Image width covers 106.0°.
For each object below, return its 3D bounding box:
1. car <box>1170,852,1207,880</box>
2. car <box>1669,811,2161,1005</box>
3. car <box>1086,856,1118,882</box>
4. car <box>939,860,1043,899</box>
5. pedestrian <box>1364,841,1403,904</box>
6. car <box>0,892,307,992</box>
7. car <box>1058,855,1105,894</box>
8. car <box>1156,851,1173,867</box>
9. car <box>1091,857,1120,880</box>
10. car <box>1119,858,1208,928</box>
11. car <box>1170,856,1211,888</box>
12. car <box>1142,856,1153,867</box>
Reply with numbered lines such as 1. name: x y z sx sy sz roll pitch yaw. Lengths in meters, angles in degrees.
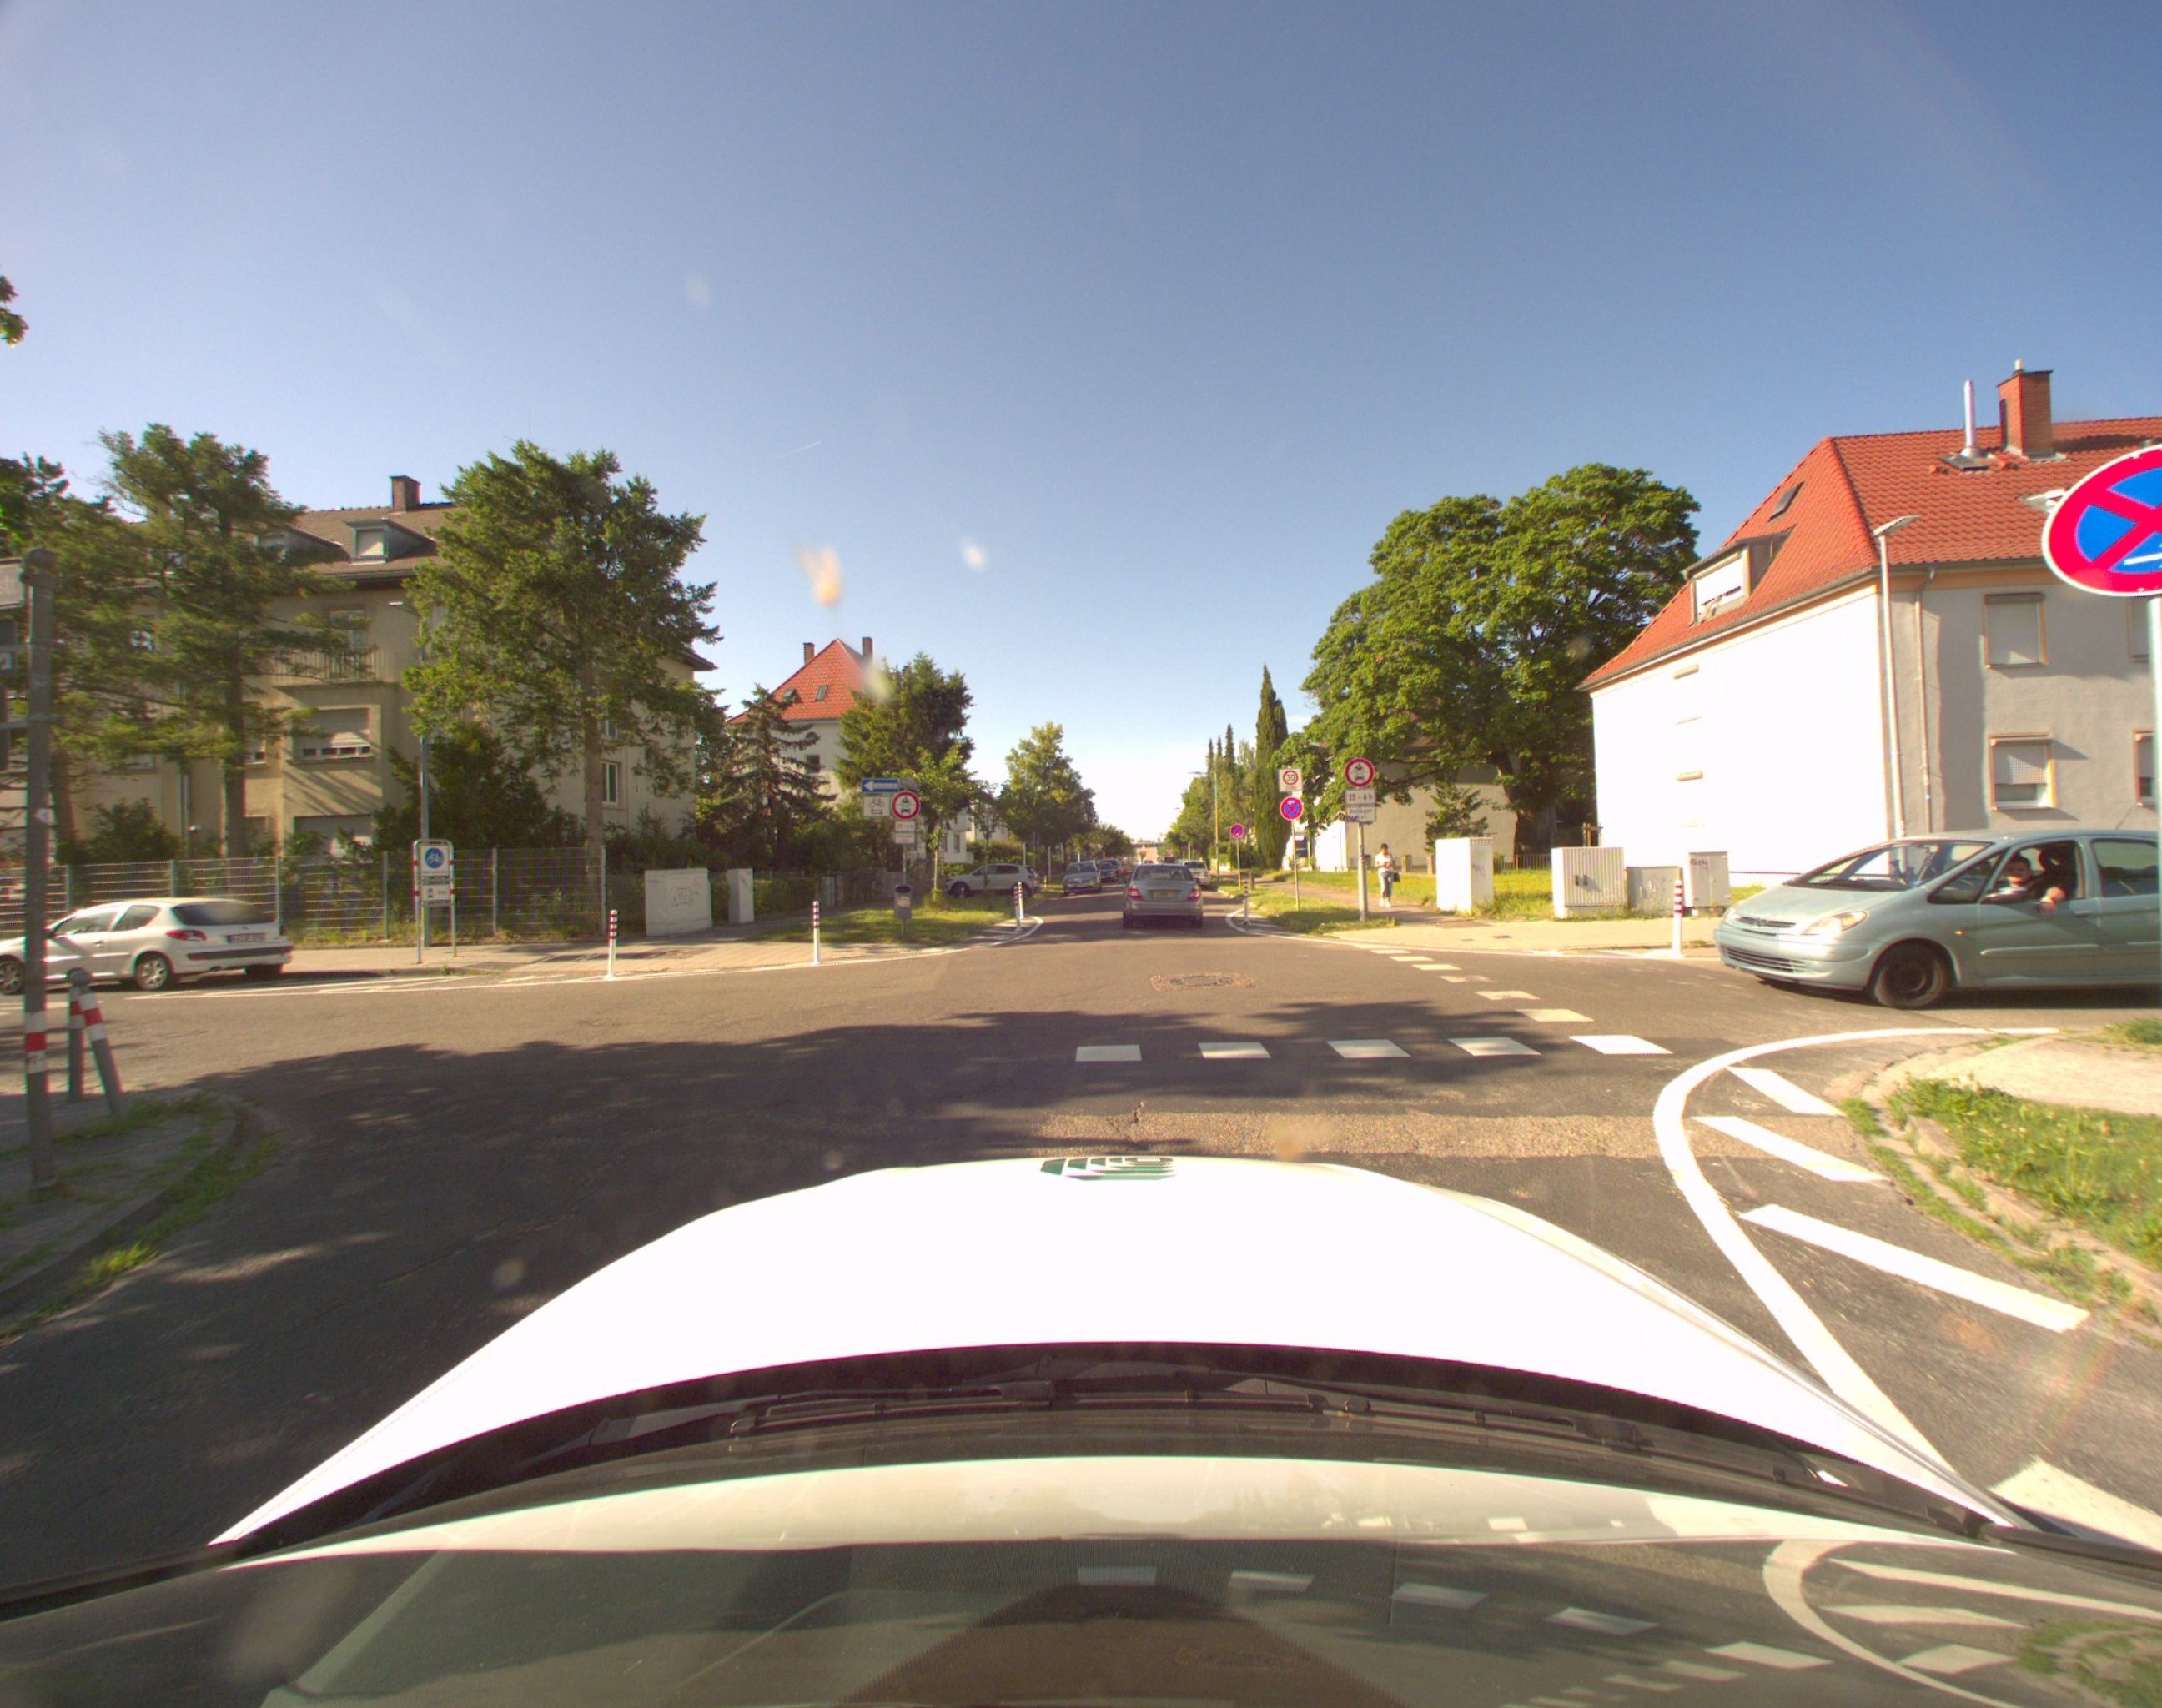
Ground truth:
1. car: 6.856 0.750 52.411 1.985 1.610 4.003 -2 0 3
2. car: 8.641 0.465 8.029 4.213 1.608 1.891 -2 0 5
3. car: 1.524 1.004 57.607 1.986 1.609 4.003 -5 0 3
4. car: -3.796 1.082 34.973 4.177 1.564 1.843 -1 0 1
5. pedestrian: 7.935 0.472 21.361 0.761 1.611 0.836 -2 -1 9
6. car: -15.309 1.399 13.334 3.747 1.398 1.709 -2 -1 4
7. car: 0.089 0.964 39.832 1.986 1.609 4.003 -5 0 3
8. car: 9.934 0.623 97.414 1.846 1.841 4.004 -2 0 4
9. car: 1.945 1.100 63.392 1.986 1.609 4.003 -5 0 3
10. car: 1.926 0.823 18.985 1.827 1.441 4.006 -1 0 6
11. car: 5.576 0.883 41.780 1.726 1.480 3.728 -2 0 3
12. car: 10.632 1.151 130.016 1.591 1.609 3.646 -2 0 3
